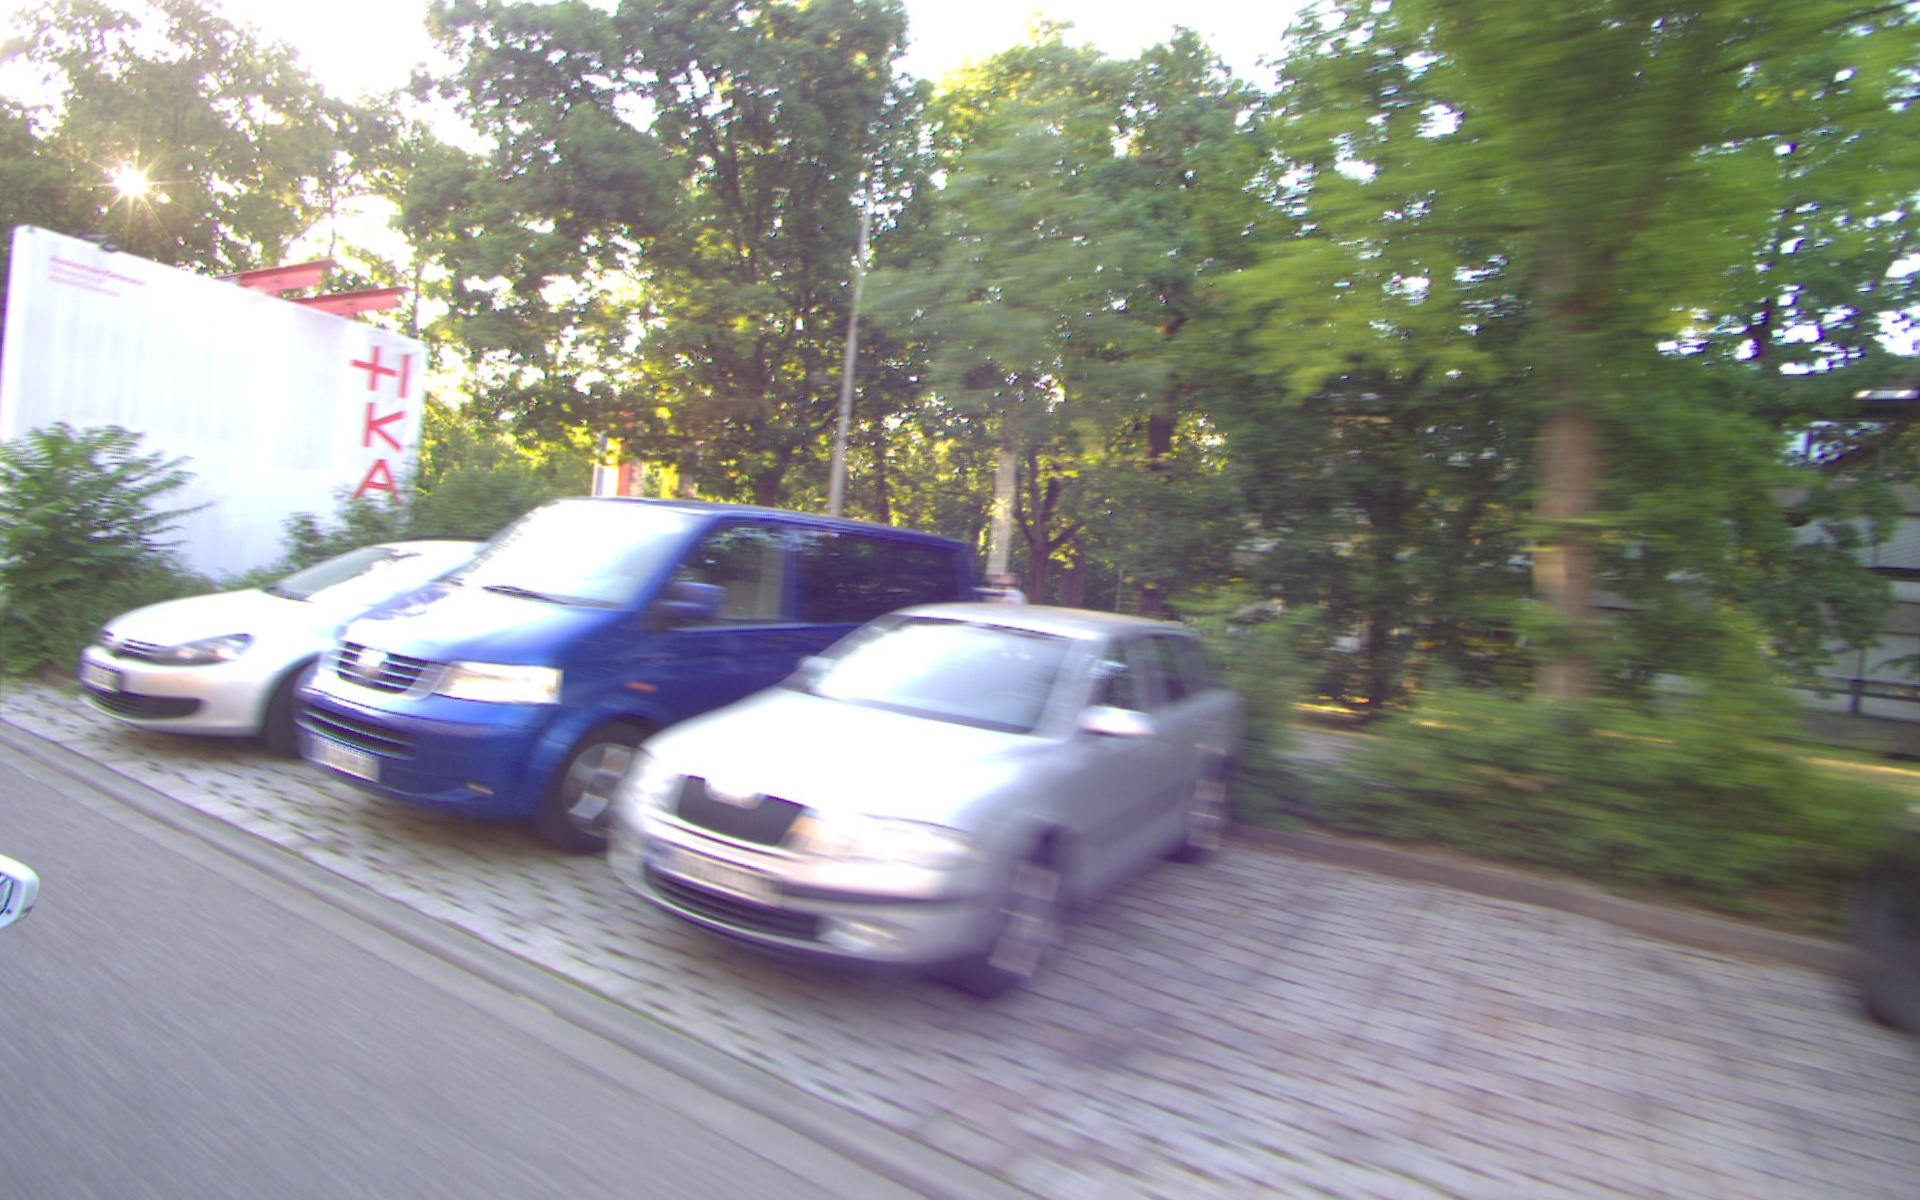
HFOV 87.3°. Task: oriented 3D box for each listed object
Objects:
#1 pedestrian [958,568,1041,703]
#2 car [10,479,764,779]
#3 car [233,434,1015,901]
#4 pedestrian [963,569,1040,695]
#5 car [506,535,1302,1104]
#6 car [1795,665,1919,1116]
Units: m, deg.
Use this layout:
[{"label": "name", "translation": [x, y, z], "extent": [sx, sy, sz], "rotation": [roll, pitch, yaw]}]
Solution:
[{"label": "pedestrian", "translation": [0.561, 0.502, 14.226], "extent": [0.772, 1.794, 0.665], "rotation": [7, 1, 27]}, {"label": "car", "translation": [-3.996, 0.175, 8.077], "extent": [1.884, 1.574, 4.929], "rotation": [7, 2, 30]}, {"label": "car", "translation": [-1.658, 0.282, 6.783], "extent": [1.884, 1.941, 4.854], "rotation": [7, 2, 30]}, {"label": "pedestrian", "translation": [0.634, 0.482, 15.169], "extent": [0.776, 1.794, 0.648], "rotation": [7, 0, 27]}, {"label": "car", "translation": [0.326, 0.694, 5.568], "extent": [1.884, 1.574, 4.929], "rotation": [7, 2, 30]}, {"label": "car", "translation": [4.225, 1.146, 2.946], "extent": [1.888, 1.558, 4.365], "rotation": [7, 2, 30]}]
